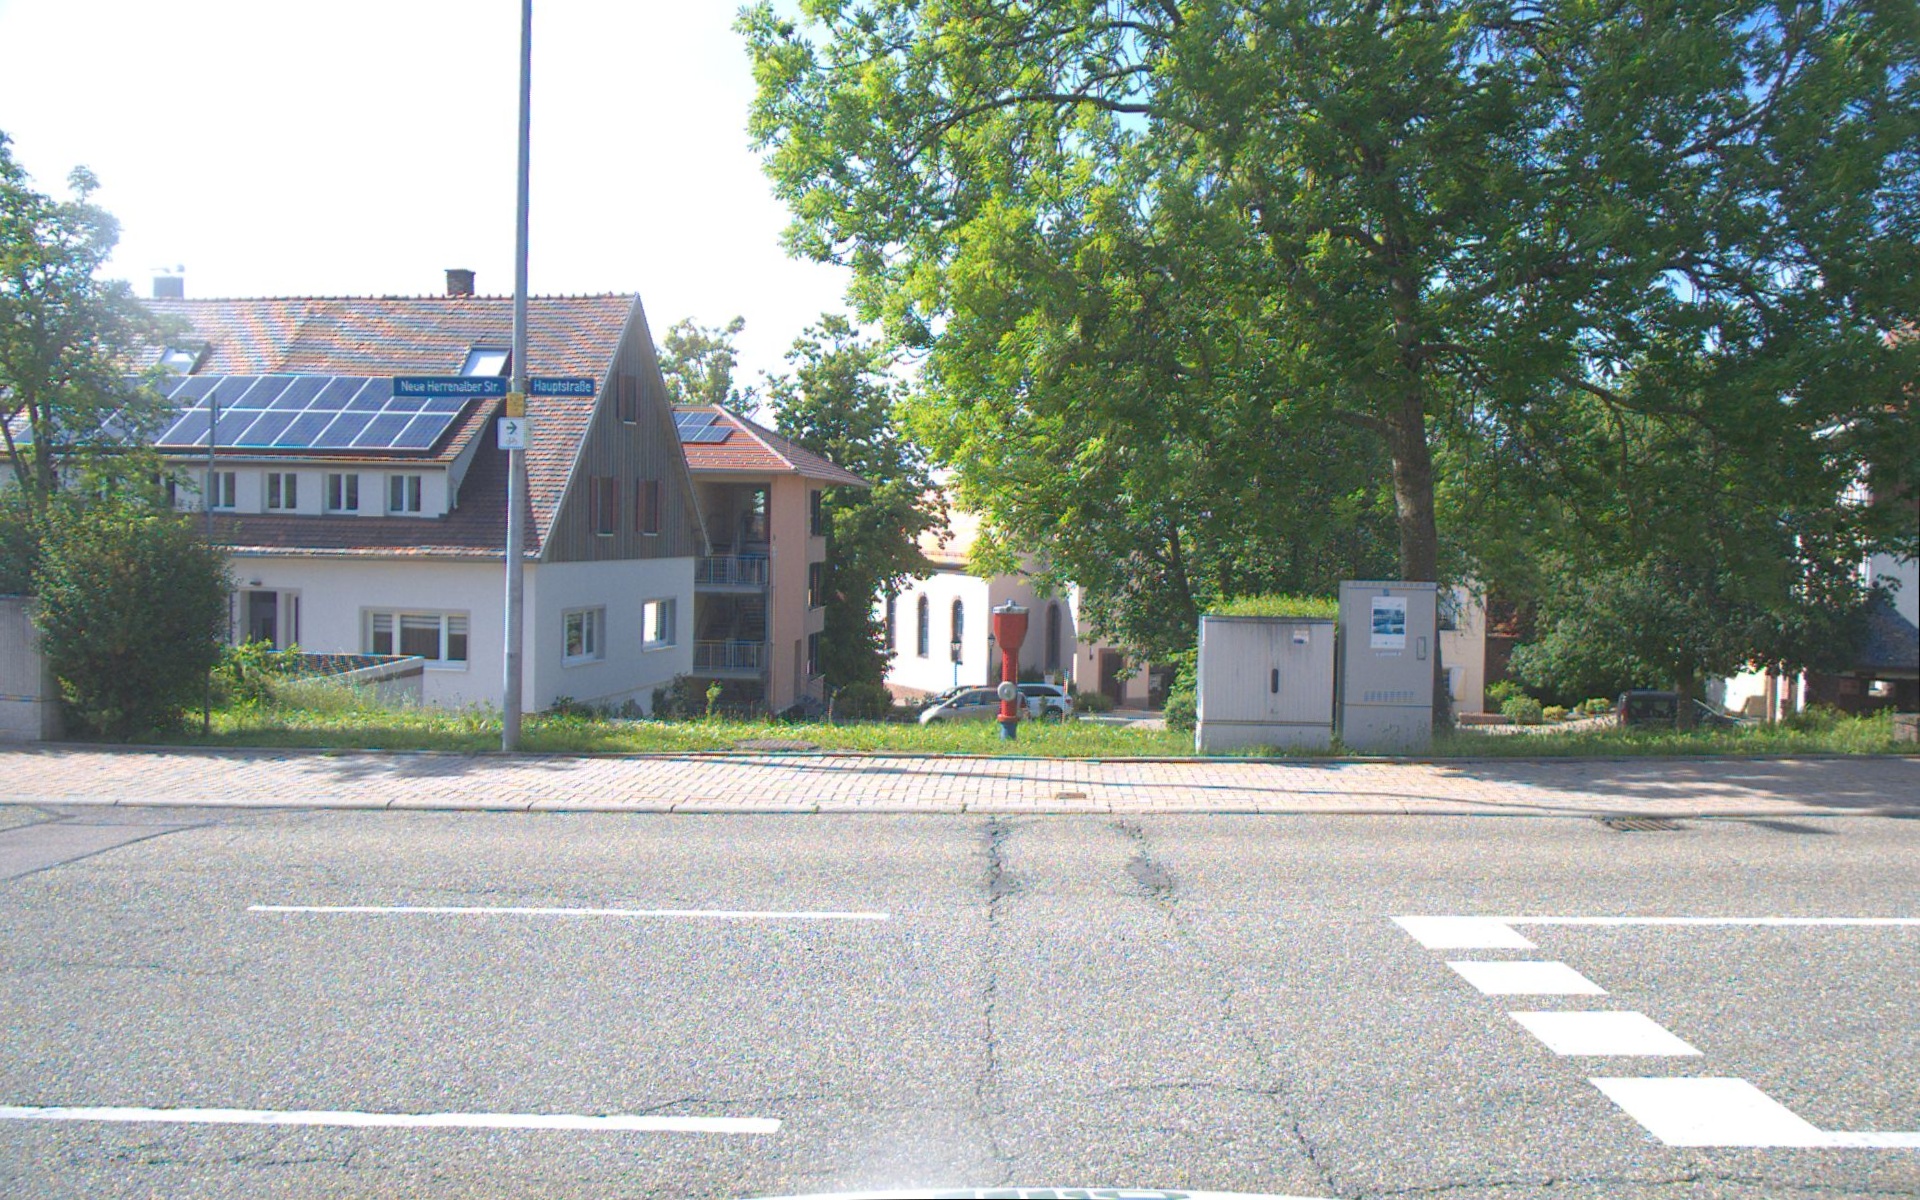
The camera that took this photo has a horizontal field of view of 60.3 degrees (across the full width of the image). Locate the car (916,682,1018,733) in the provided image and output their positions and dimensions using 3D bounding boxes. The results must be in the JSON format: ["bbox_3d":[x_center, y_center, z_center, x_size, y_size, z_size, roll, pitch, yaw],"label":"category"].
[{"bbox_3d":[0.240,3.975,61.306,3.696,1.789,1.713,0,-2,-2],"label":"car"}]

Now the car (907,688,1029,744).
[{"bbox_3d":[0.258,3.875,55.516,4.007,1.789,1.713,0,-2,-1],"label":"car"}]

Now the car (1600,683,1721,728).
[{"bbox_3d":[24.380,3.666,57.692,3.693,1.470,1.714,-1,-2,16],"label":"car"}]

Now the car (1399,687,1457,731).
[{"bbox_3d":[18.188,4.209,64.435,1.671,1.569,3.788,-1,-2,8],"label":"car"}]

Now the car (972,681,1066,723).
[{"bbox_3d":[2.341,4.063,66.190,3.696,1.622,1.713,0,-2,-2],"label":"car"}]
